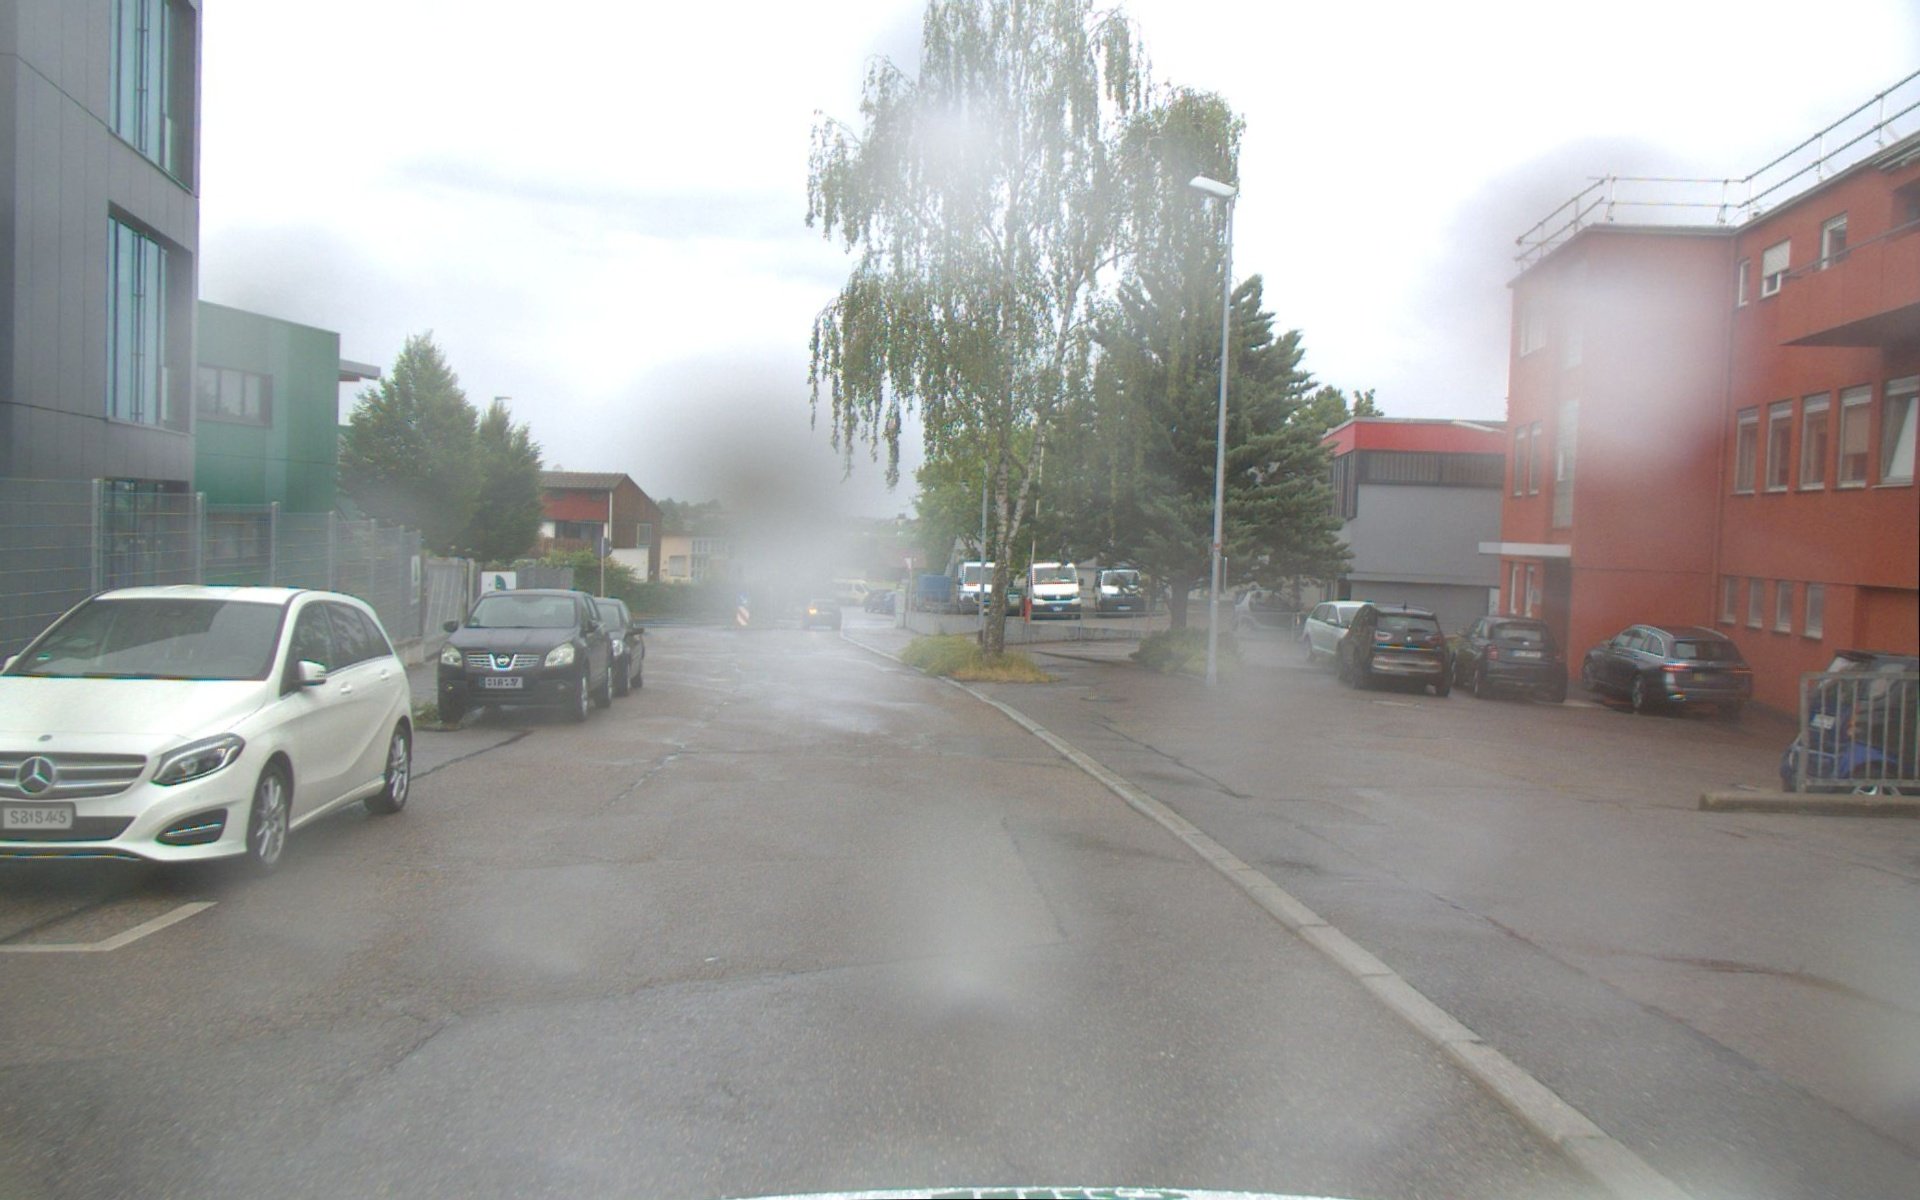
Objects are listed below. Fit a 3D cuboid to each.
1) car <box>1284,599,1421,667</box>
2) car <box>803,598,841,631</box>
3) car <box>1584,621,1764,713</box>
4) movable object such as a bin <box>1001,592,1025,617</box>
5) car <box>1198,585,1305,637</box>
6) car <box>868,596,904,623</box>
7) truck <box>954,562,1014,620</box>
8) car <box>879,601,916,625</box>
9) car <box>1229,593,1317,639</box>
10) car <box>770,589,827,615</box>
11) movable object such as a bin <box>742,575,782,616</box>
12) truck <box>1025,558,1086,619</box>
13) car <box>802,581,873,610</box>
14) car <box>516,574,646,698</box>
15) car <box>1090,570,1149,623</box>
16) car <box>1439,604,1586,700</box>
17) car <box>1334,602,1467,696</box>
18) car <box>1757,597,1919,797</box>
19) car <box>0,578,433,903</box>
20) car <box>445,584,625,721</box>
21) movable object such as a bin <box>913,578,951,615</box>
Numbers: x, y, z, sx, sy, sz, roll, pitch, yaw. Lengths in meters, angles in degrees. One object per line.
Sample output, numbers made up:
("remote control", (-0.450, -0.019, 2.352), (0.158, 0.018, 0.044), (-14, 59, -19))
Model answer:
("car", (9.208, 0.732, 39.169), (1.867, 1.496, 4.324), (0, 0, -6))
("car", (-6.735, 0.690, 80.439), (1.722, 1.561, 3.994), (1, 0, -7))
("car", (13.469, 1.215, 31.485), (1.928, 1.475, 4.515), (3, 0, 8))
("movable object such as a bin", (2.349, 0.210, 73.295), (1.027, 1.061, 0.884), (1, 0, 4))
("car", (10.920, 0.403, 62.180), (3.841, 1.768, 1.860), (-1, 1, 6))
("car", (-5.436, 0.674, 120.631), (2.036, 1.867, 4.460), (1, 0, -10))
("truck", (0.956, -0.349, 68.472), (2.064, 2.253, 5.649), (1, 0, -3))
("car", (-4.355, 0.895, 114.312), (1.917, 1.638, 4.435), (1, 0, -11))
("car", (10.238, 0.512, 54.216), (2.655, 1.472, 1.679), (0, 0, 5))
("car", (-12.838, 0.143, 131.500), (4.324, 1.938, 1.992), (1, 0, 37))
("movable object such as a bin", (-12.931, -0.304, 108.060), (1.696, 2.601, 3.342), (1, 0, 9))
("truck", (3.905, -0.438, 68.175), (2.197, 2.383, 4.836), (1, 0, 0))
("car", (-11.053, -0.387, 149.485), (5.881, 2.457, 2.465), (1, 0, 15))
("car", (-6.041, 0.547, 26.718), (1.707, 1.829, 3.950), (1, 0, -9))
("car", (6.550, -0.128, 68.445), (2.014, 2.049, 4.939), (1, 0, 1))
("car", (10.788, 0.971, 32.631), (1.947, 1.708, 4.515), (1, 0, 8))
("car", (8.484, 0.893, 32.212), (1.953, 1.606, 4.515), (3, 0, 9))
("car", (8.983, 1.024, 14.162), (3.367, 1.523, 1.619), (10, 1, 5))
("car", (-4.638, 0.682, 10.148), (1.701, 1.563, 4.246), (1, 0, -4))
("car", (-5.413, 0.621, 21.519), (1.600, 1.585, 4.079), (1, 0, -5))
("movable object such as a bin", (-1.195, -0.150, 70.814), (1.283, 1.527, 1.853), (1, 0, -12))
